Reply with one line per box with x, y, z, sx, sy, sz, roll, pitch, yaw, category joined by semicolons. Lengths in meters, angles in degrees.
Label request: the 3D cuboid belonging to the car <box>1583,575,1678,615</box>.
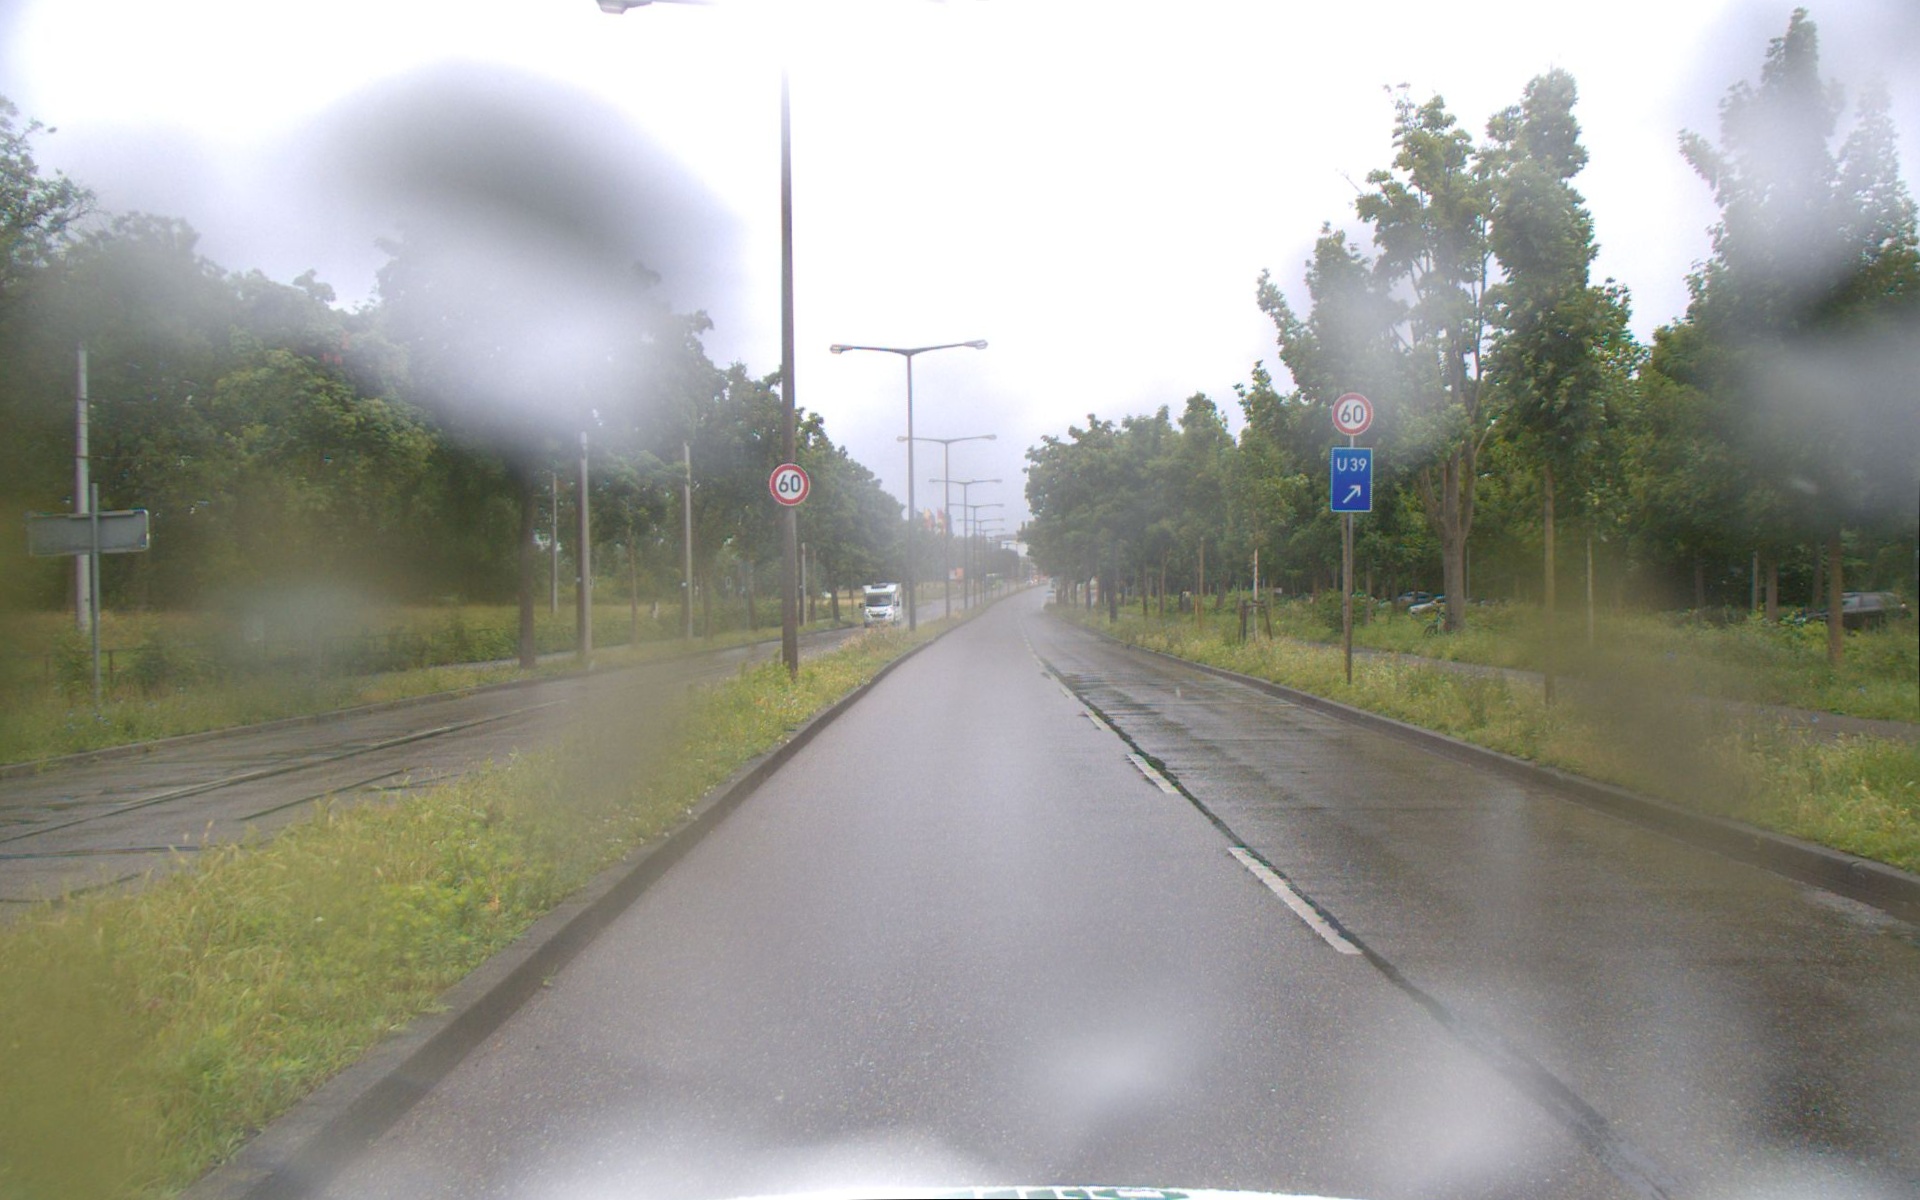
32.771;-0.253;80.928;3.873;1.852;1.897;1;0;2;car

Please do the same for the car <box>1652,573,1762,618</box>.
32.101;-0.189;71.130;3.873;1.852;1.897;1;0;2;car

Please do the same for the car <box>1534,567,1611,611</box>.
33.681;-0.606;90.981;3.644;2.365;1.588;1;0;2;car

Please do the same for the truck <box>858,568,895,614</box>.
-5.522;-0.541;109.992;2.094;2.893;5.073;-2;-1;0;truck
